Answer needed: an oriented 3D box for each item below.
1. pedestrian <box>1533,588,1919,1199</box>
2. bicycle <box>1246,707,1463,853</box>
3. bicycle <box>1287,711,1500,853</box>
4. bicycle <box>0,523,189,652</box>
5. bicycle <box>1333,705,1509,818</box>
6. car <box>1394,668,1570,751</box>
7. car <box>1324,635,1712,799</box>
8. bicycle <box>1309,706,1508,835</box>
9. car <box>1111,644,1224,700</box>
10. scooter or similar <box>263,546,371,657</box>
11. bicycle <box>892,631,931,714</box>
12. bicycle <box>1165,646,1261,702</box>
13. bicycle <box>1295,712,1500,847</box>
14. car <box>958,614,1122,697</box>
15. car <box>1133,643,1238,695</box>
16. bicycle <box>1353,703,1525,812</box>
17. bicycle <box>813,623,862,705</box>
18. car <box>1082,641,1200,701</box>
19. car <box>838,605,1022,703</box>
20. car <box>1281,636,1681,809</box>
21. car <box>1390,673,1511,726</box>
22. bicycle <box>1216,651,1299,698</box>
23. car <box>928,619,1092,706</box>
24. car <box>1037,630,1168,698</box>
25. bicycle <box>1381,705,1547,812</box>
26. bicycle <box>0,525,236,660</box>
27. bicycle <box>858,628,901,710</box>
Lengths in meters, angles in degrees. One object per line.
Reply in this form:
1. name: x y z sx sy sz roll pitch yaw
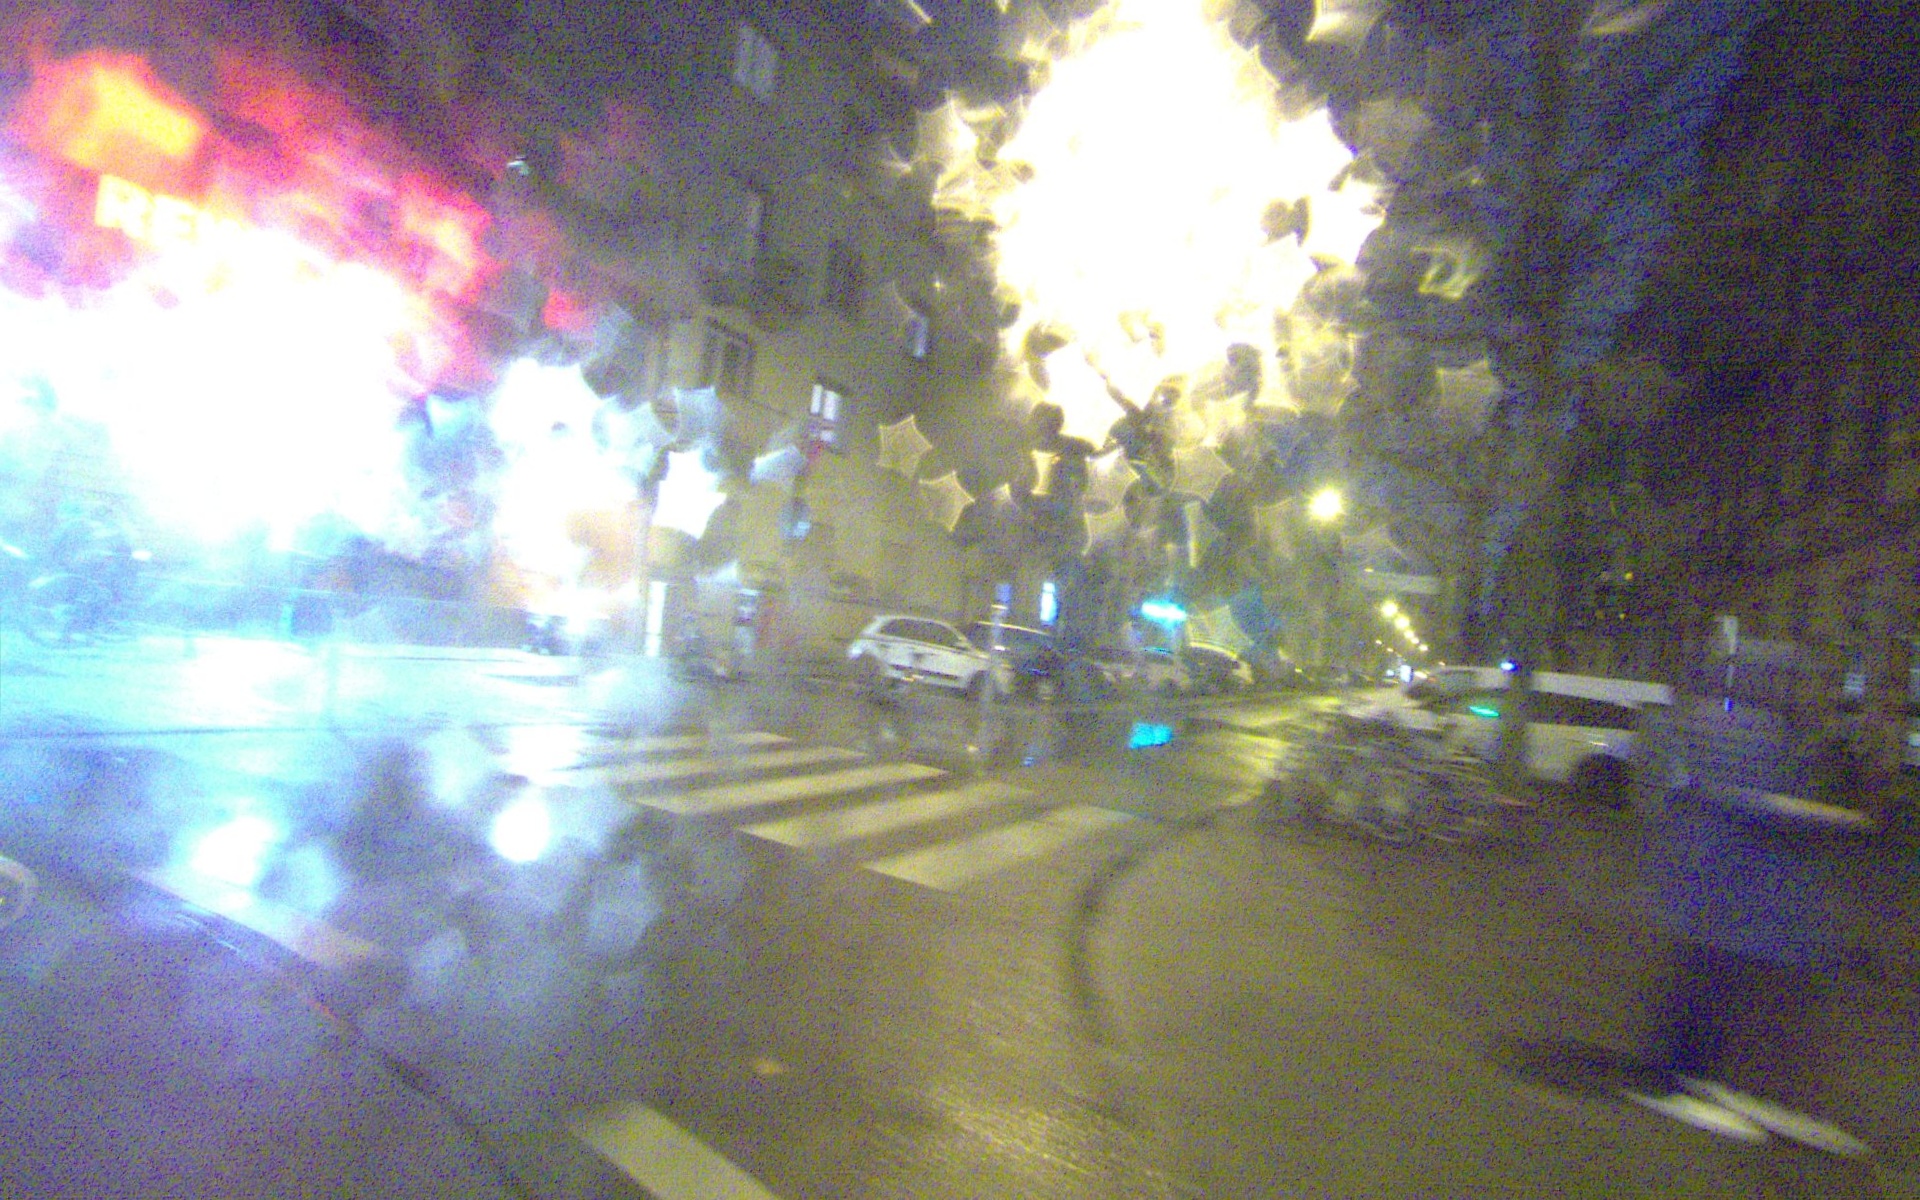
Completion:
1. pedestrian: 2.749 0.955 3.577 0.969 1.855 0.876 6 0 38
2. bicycle: 3.719 1.668 9.553 1.778 1.021 0.455 7 0 27
3. bicycle: 4.209 1.739 9.840 1.778 1.021 0.403 7 0 27
4. bicycle: -9.383 -0.098 10.802 0.378 1.187 1.646 3 -4 30
5. bicycle: 5.466 1.893 11.997 1.778 1.021 0.403 7 0 27
6. car: 15.407 3.205 29.976 4.383 1.783 2.000 6 -2 25
7. car: 9.366 1.922 17.465 5.449 1.912 2.000 6 -2 25
8. bicycle: 4.700 1.761 10.612 1.778 1.021 0.403 7 0 27
9. car: 7.480 2.603 36.575 3.624 1.595 1.759 6 -3 1
10. scooter or similar: -8.212 0.010 12.832 1.291 1.244 0.526 7 -1 32
11. bicycle: -0.764 1.146 16.102 0.444 1.189 1.967 6 -3 -1
12. bicycle: 11.813 3.436 47.153 3.924 2.037 2.002 7 -1 7
13. bicycle: 4.420 1.786 10.241 1.778 1.021 0.379 7 0 27
14. car: 2.039 1.463 26.447 4.030 1.681 1.759 6 -3 1
15. car: 8.784 2.710 39.426 3.624 1.595 1.759 6 -3 1
16. bicycle: 5.879 1.911 12.418 1.778 1.021 0.403 7 0 27
17. bicycle: -1.929 1.010 16.025 0.444 1.189 1.967 6 -3 -1
18. car: 6.154 2.419 34.524 3.624 1.595 1.759 6 -3 1
19. car: -0.604 1.159 21.470 3.624 1.595 1.759 6 -3 1
20. car: 7.746 1.770 15.480 5.006 1.783 2.000 6 -2 25
21. car: 18.834 3.816 38.654 3.934 1.569 1.998 4 -3 31
22. bicycle: 16.729 4.191 56.684 3.926 2.037 2.001 8 -1 1
23. car: 1.149 1.493 23.983 3.624 1.595 1.759 6 -3 1
24. car: 4.271 1.949 30.655 3.624 1.595 1.759 6 -3 1
25. bicycle: 6.352 1.980 12.746 1.746 1.021 0.403 7 0 27
26. bicycle: -8.598 -0.033 10.334 0.378 1.188 1.784 7 -1 30
27. bicycle: -1.259 1.090 16.092 0.444 1.189 1.967 6 -3 -1
